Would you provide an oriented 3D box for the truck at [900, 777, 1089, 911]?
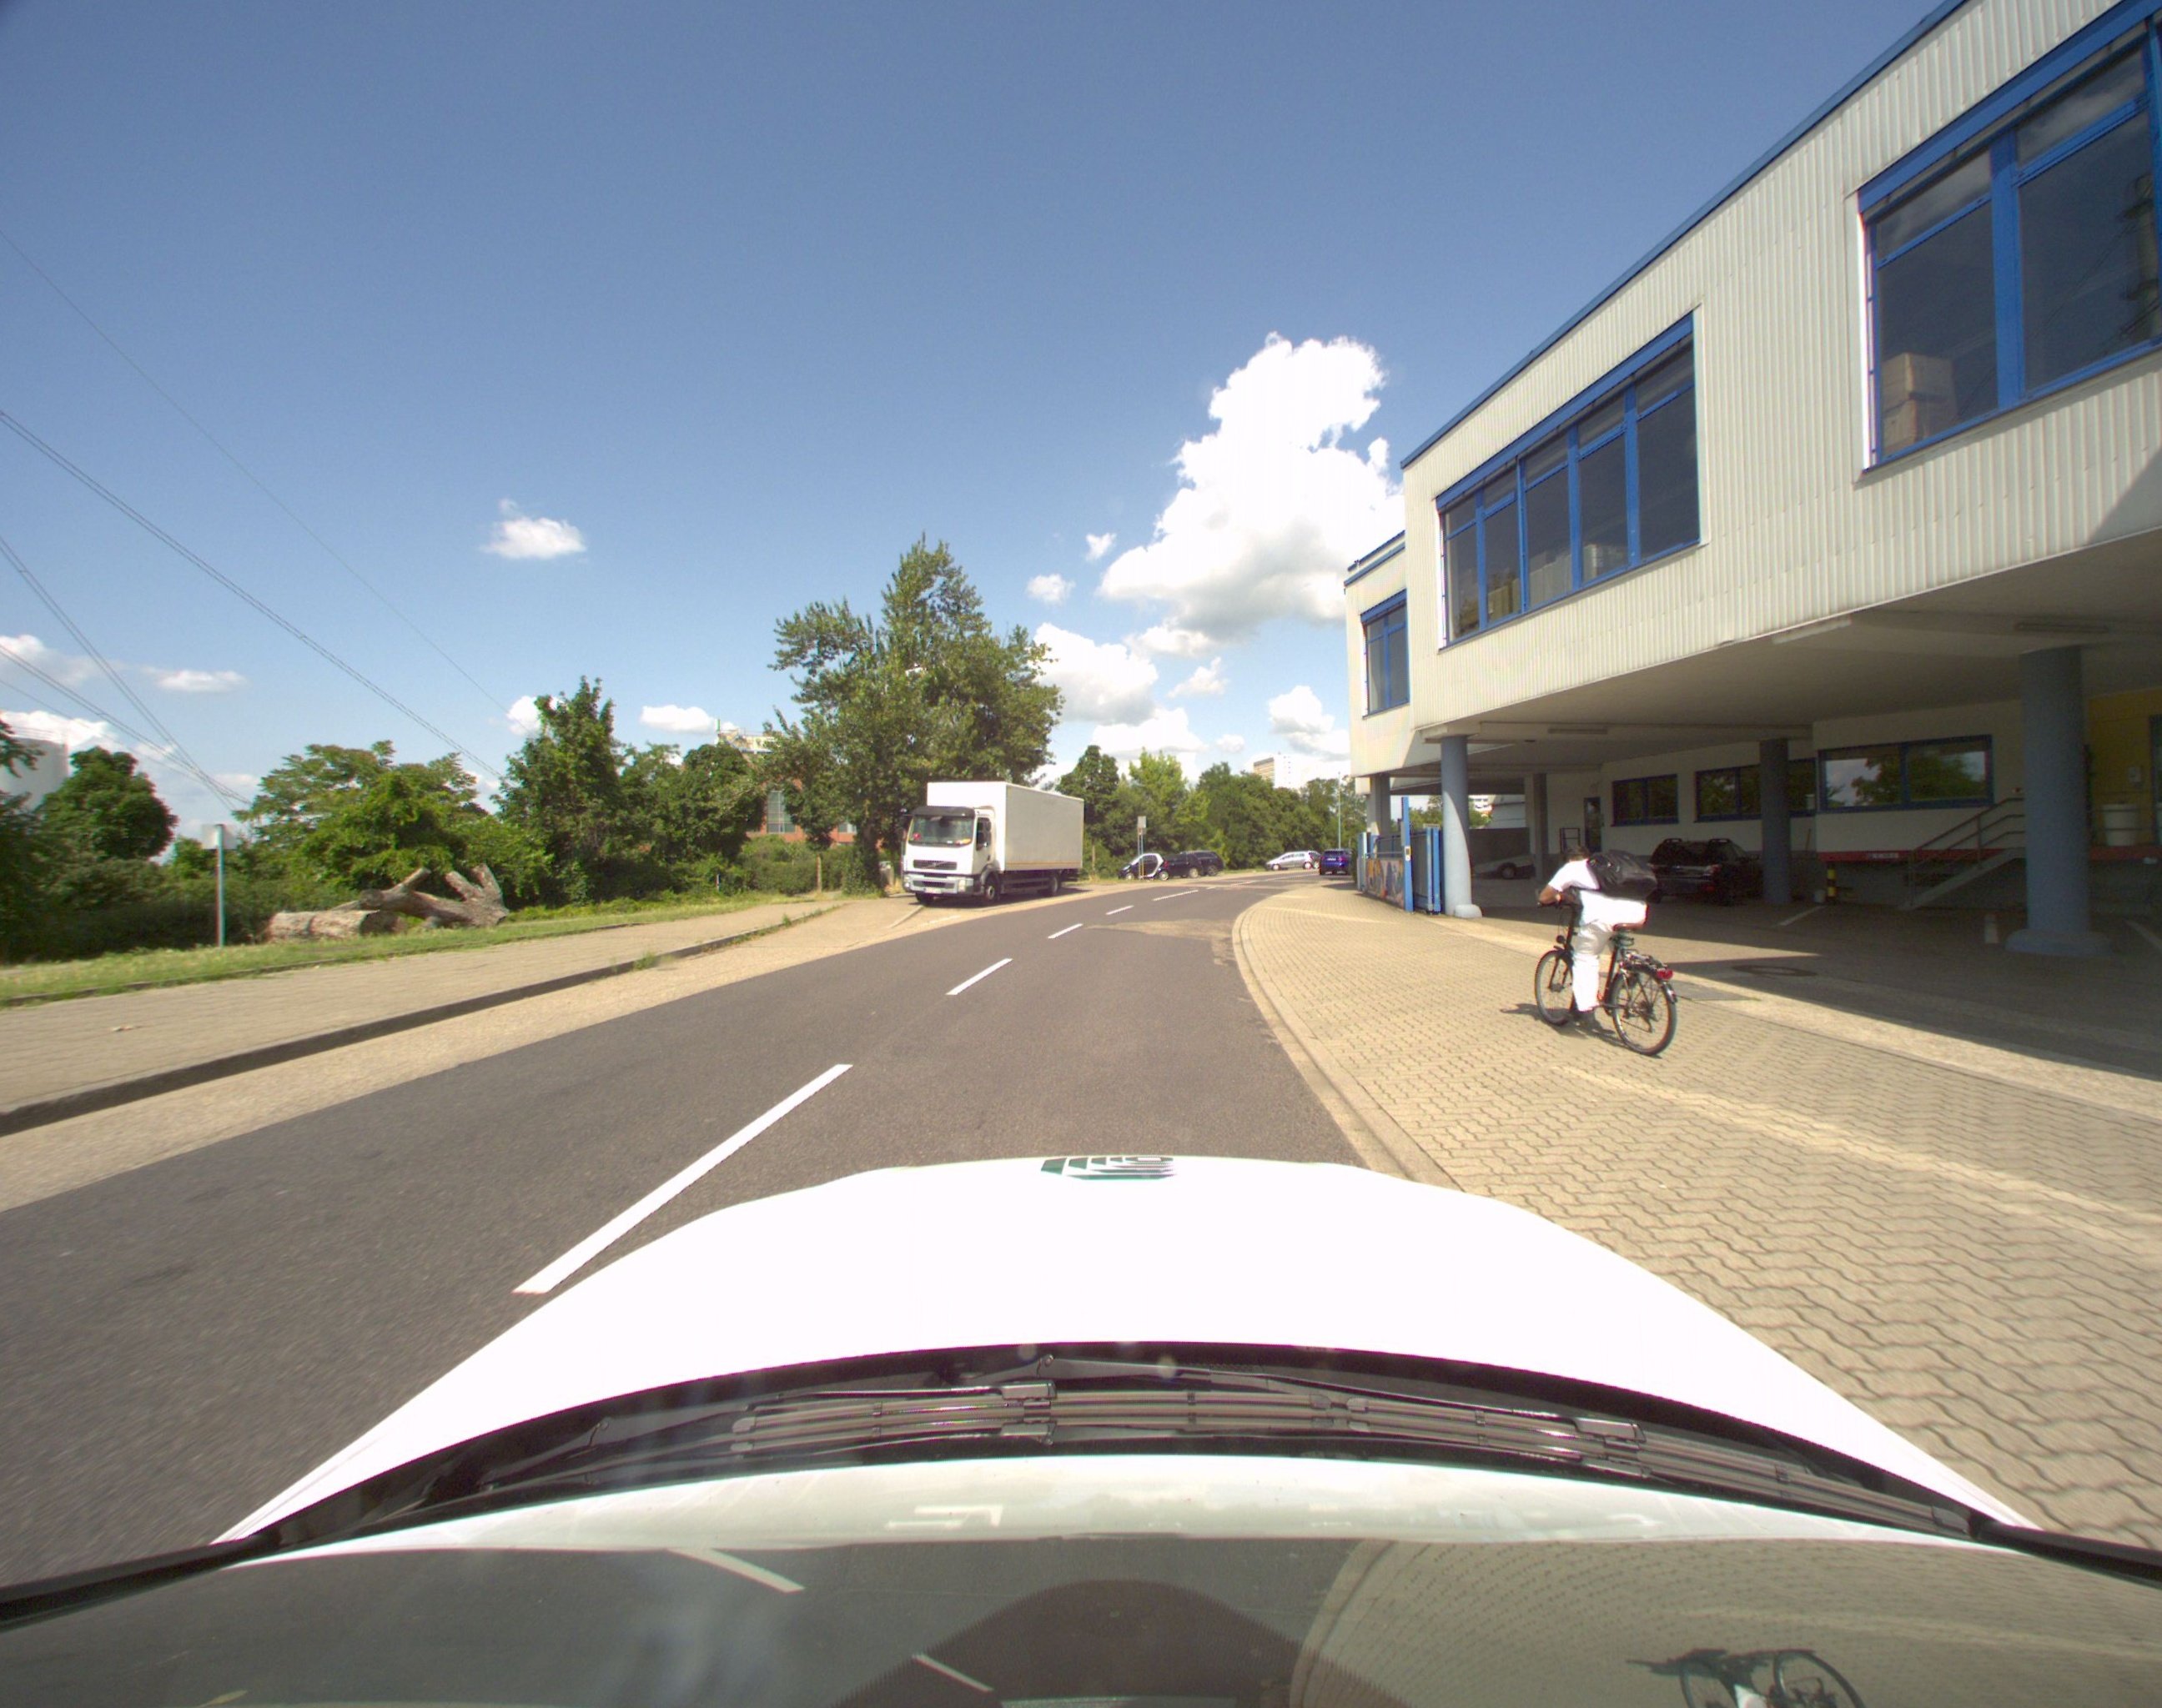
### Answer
[{"bbox_3d":[-2.329,-0.301,26.404,2.302,3.567,9.412,0,0,19],"label":"truck"}]

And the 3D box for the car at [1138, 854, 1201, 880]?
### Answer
[{"bbox_3d":[5.227,0.766,48.209,3.330,1.475,1.695,-1,0,-16],"label":"car"}]

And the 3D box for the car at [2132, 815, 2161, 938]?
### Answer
[{"bbox_3d":[16.594,0.329,11.476,4.128,1.781,1.738,0,0,-44],"label":"car"}]

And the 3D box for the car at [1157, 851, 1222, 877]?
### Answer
[{"bbox_3d":[6.860,0.660,51.603,3.634,1.570,1.880,0,-1,-15],"label":"car"}]

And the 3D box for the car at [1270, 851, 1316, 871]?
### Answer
[{"bbox_3d":[17.758,0.593,68.333,3.559,1.570,1.745,-1,-1,7],"label":"car"}]

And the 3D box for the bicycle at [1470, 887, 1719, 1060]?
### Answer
[{"bbox_3d":[4.079,0.870,6.728,0.664,1.109,2.167,-1,-1,0],"label":"bicycle"}]

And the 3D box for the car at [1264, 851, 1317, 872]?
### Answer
[{"bbox_3d":[16.975,0.627,66.157,4.024,1.570,1.745,-1,-1,7],"label":"car"}]

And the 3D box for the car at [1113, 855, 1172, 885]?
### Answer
[{"bbox_3d":[3.388,0.872,45.040,2.896,1.570,1.885,-1,-1,-8],"label":"car"}]

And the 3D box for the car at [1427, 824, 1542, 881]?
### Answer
[{"bbox_3d":[15.188,-0.048,30.890,3.682,2.014,2.009,1,-2,19],"label":"car"}]

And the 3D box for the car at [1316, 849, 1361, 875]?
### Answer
[{"bbox_3d":[16.433,0.515,51.828,1.891,1.593,4.729,-1,-1,28],"label":"car"}]

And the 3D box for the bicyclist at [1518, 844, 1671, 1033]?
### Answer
[{"bbox_3d":[4.073,0.636,6.525,0.661,1.397,0.858,-1,-1,0],"label":"bicyclist"}]

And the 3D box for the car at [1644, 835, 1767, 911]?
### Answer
[{"bbox_3d":[16.012,0.421,20.830,3.681,1.658,1.652,-4,2,-38],"label":"car"}]
